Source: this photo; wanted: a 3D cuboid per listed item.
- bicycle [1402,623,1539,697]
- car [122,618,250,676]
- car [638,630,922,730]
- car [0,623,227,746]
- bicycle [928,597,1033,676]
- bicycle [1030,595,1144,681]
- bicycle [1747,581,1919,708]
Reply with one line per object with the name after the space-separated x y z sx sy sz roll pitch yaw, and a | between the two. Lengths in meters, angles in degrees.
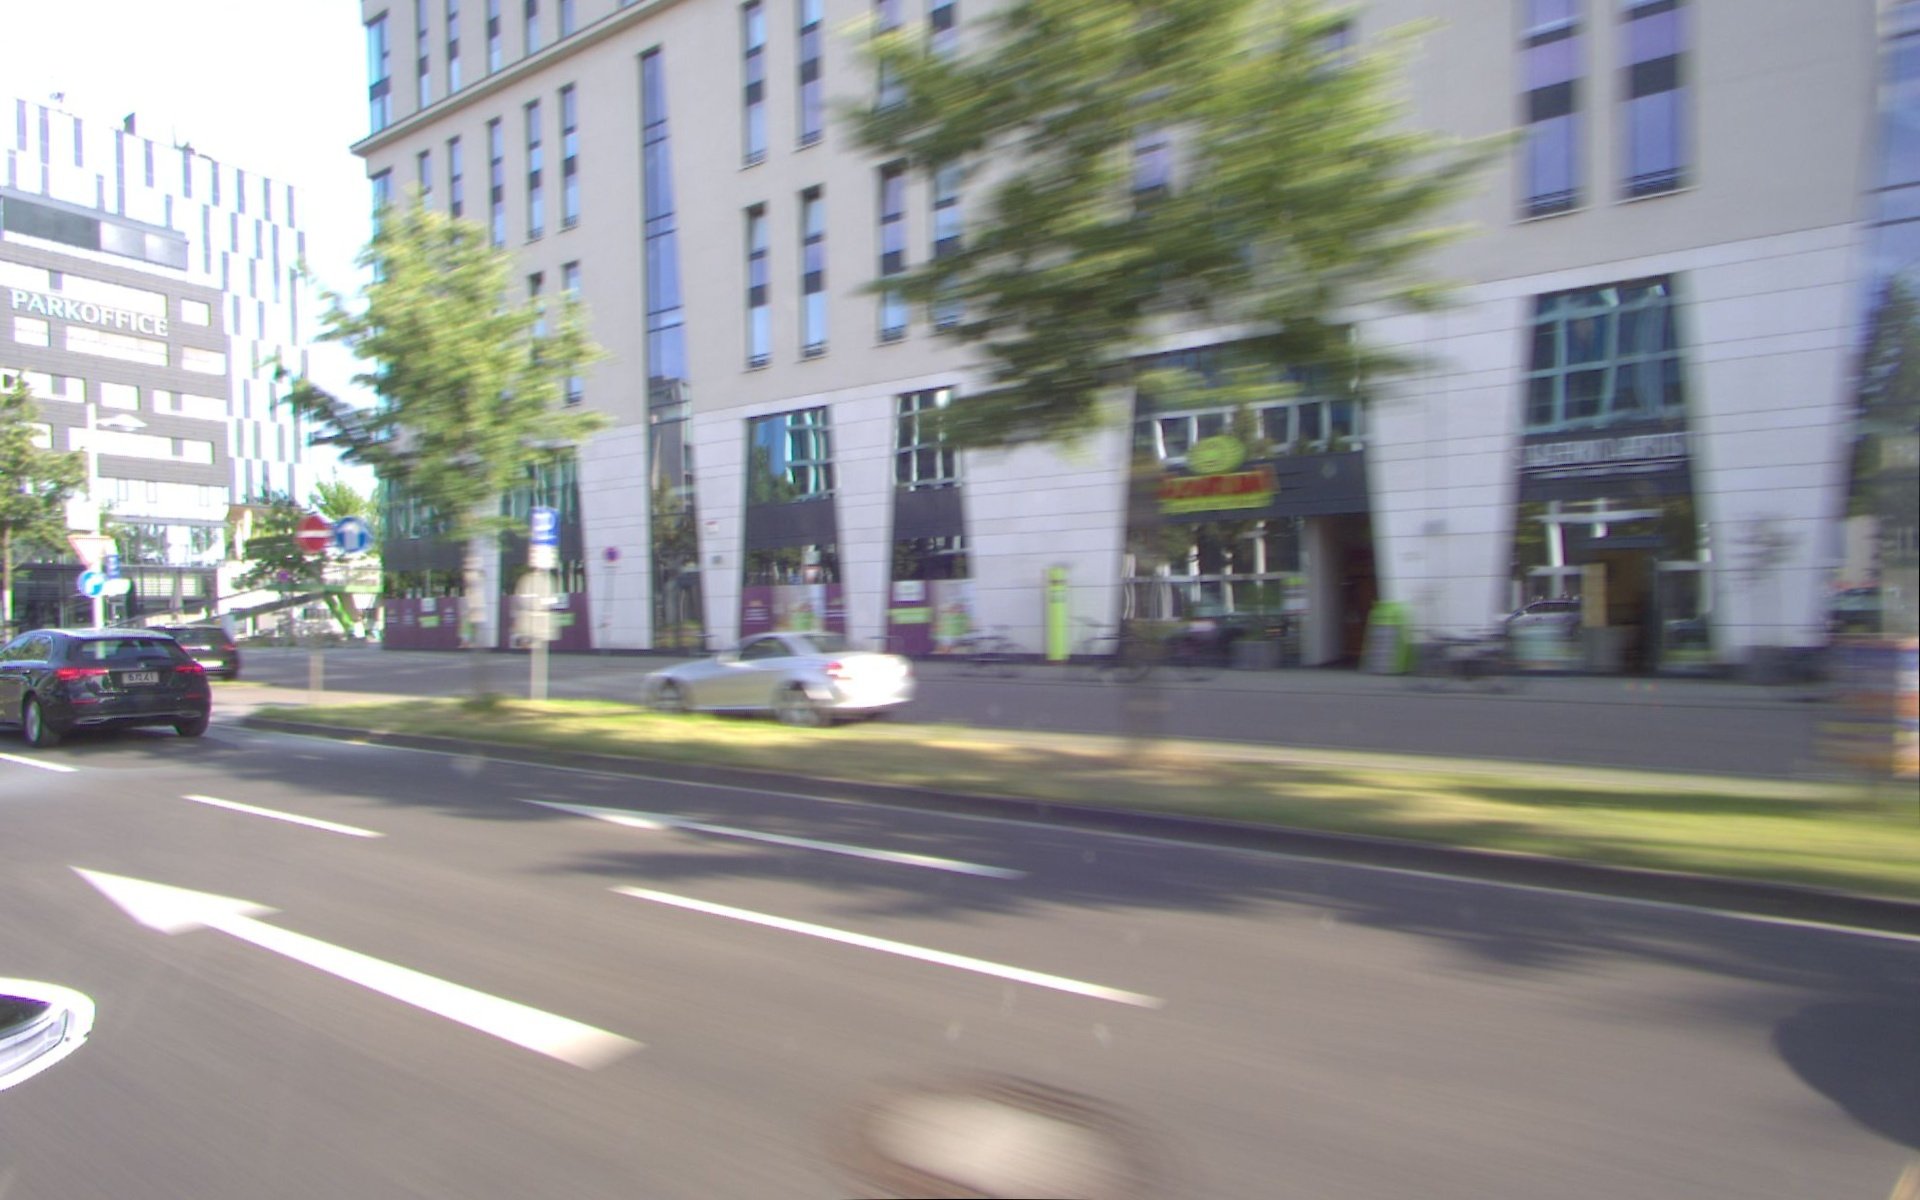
8.085 0.935 15.897 1.878 1.098 0.632 -2 0 33 | bicycle
-19.967 1.189 25.783 4.105 1.388 1.601 -2 -2 37 | car
-2.610 1.066 14.276 3.849 1.258 1.706 -1 -2 32 | car
-11.808 1.056 13.560 3.905 1.442 1.771 -1 -2 33 | car
0.409 0.765 21.003 2.244 1.590 0.554 -2 -2 33 | bicycle
2.441 0.745 19.438 2.182 1.587 0.554 -2 -2 33 | bicycle
12.105 0.600 13.567 2.182 1.639 0.554 -2 -2 33 | bicycle
